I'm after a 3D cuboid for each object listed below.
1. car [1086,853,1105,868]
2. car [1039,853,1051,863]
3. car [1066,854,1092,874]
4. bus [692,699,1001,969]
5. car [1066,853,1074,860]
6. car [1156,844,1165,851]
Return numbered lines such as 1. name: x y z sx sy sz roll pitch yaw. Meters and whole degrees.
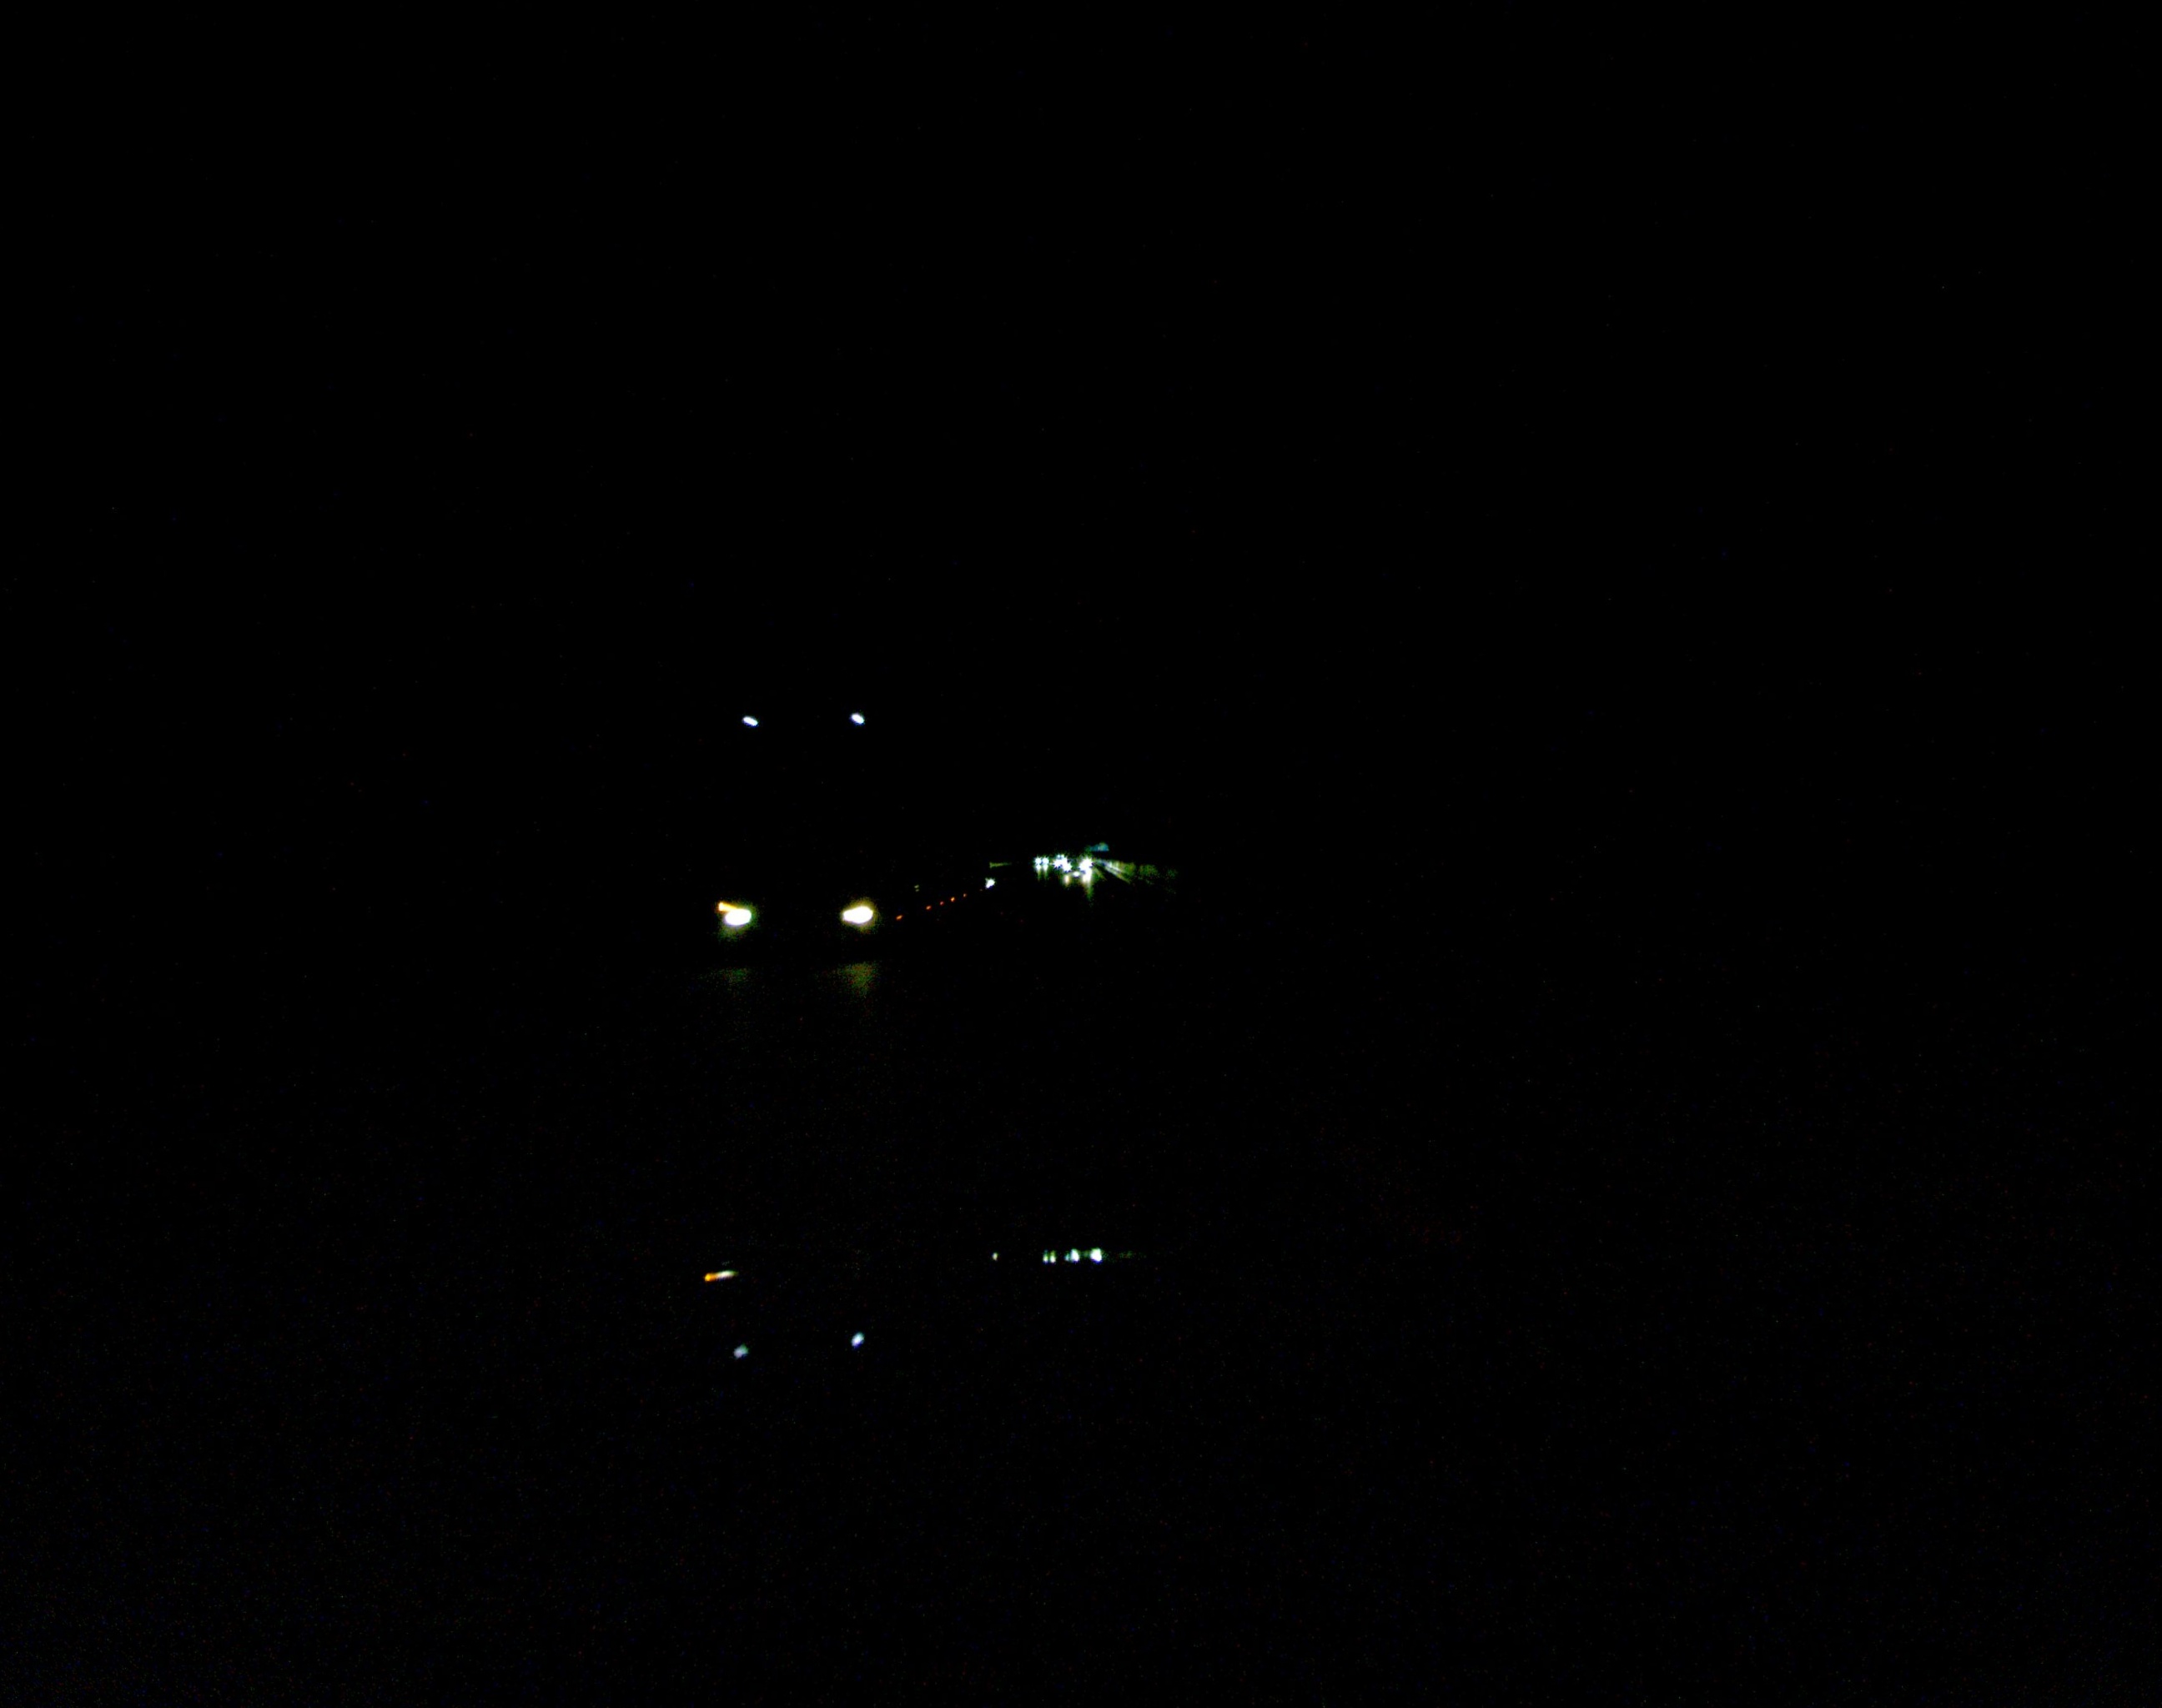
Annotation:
1. car: 1.710 0.781 90.360 2.012 1.652 4.001 -6 -1 1
2. car: -7.121 0.862 149.851 1.999 1.707 5.168 -6 -1 -2
3. car: -0.197 0.820 63.077 1.840 1.392 5.069 -6 -1 -2
4. bus: -4.336 -0.364 18.931 2.659 3.971 14.701 -3 1 1
5. car: -3.071 0.643 208.291 1.939 1.608 4.000 -6 -1 -1
6. car: 21.876 -1.867 209.253 1.999 1.914 3.999 -2 0 -1
